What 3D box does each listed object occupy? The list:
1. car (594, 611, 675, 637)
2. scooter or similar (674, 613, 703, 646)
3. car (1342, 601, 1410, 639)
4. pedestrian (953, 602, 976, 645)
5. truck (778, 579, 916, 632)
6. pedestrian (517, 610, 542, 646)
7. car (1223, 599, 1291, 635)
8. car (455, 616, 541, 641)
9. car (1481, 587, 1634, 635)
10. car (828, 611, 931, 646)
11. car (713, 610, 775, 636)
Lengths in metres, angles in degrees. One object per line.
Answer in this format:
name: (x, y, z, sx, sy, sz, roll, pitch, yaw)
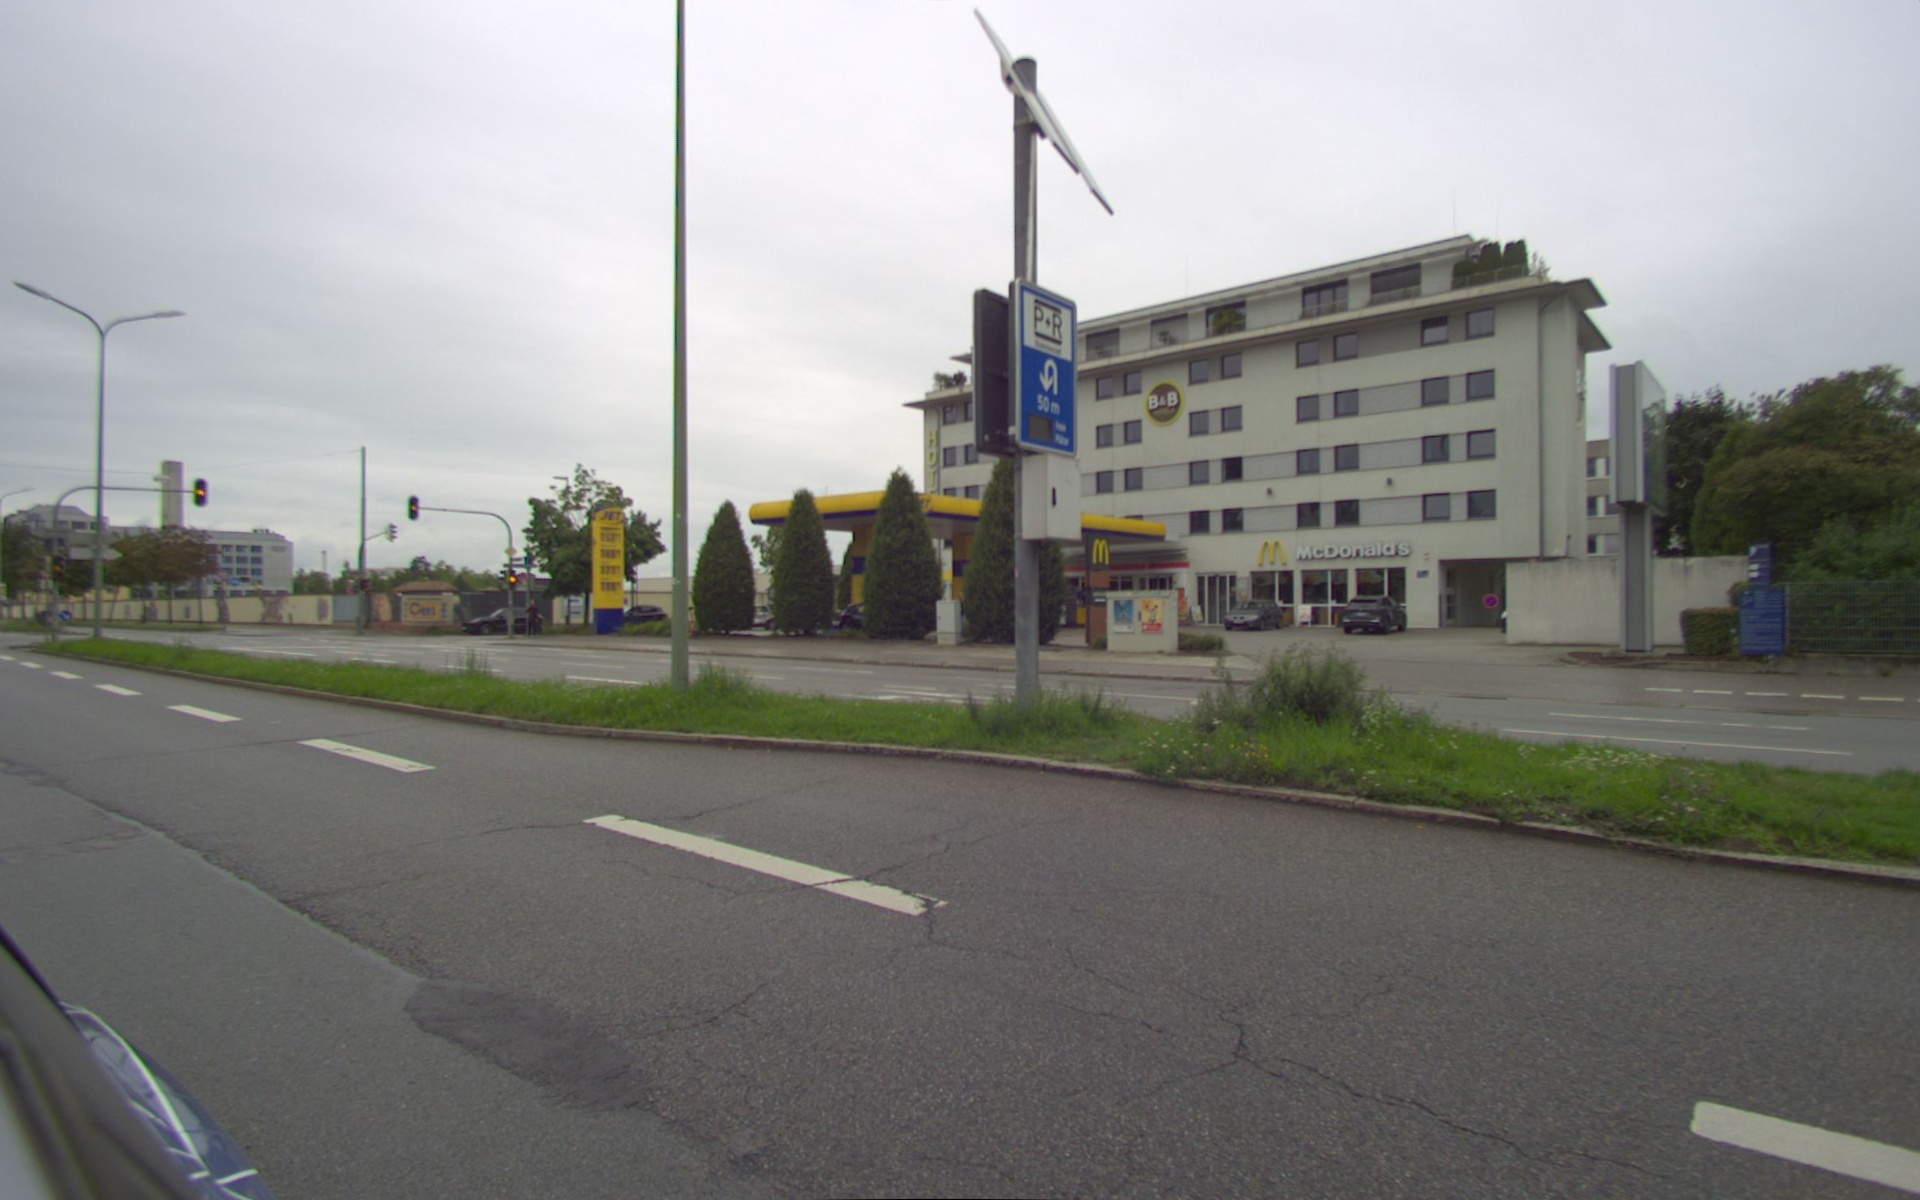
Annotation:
car: (-20.819, 1.498, 64.797, 2.000, 1.544, 4.567, -1, -1, 43)
scooter or similar: (-10.677, 1.154, 39.762, 0.352, 1.252, 1.546, -3, 1, -44)
car: (18.260, 0.880, 44.327, 1.704, 1.599, 3.948, -1, -1, 39)
pedestrian: (0.191, 0.971, 41.863, 0.642, 1.742, 0.700, -1, -2, 37)
truck: (-8.575, 0.421, 78.561, 2.610, 3.885, 11.767, -1, -1, 43)
pedestrian: (-19.752, 1.273, 46.443, 0.687, 1.627, 0.794, -1, 1, 40)
car: (14.066, 0.803, 47.791, 1.704, 1.599, 3.948, -1, -1, 39)
car: (-27.545, 1.675, 60.418, 2.000, 1.439, 4.204, -1, -1, 43)
car: (19.299, 0.385, 32.769, 3.997, 1.449, 1.806, -1, -2, 41)
car: (-3.268, 1.143, 40.660, 3.996, 1.342, 1.776, -1, -2, 39)
car: (-13.274, 1.414, 62.038, 3.974, 1.497, 1.607, -1, -2, 39)
